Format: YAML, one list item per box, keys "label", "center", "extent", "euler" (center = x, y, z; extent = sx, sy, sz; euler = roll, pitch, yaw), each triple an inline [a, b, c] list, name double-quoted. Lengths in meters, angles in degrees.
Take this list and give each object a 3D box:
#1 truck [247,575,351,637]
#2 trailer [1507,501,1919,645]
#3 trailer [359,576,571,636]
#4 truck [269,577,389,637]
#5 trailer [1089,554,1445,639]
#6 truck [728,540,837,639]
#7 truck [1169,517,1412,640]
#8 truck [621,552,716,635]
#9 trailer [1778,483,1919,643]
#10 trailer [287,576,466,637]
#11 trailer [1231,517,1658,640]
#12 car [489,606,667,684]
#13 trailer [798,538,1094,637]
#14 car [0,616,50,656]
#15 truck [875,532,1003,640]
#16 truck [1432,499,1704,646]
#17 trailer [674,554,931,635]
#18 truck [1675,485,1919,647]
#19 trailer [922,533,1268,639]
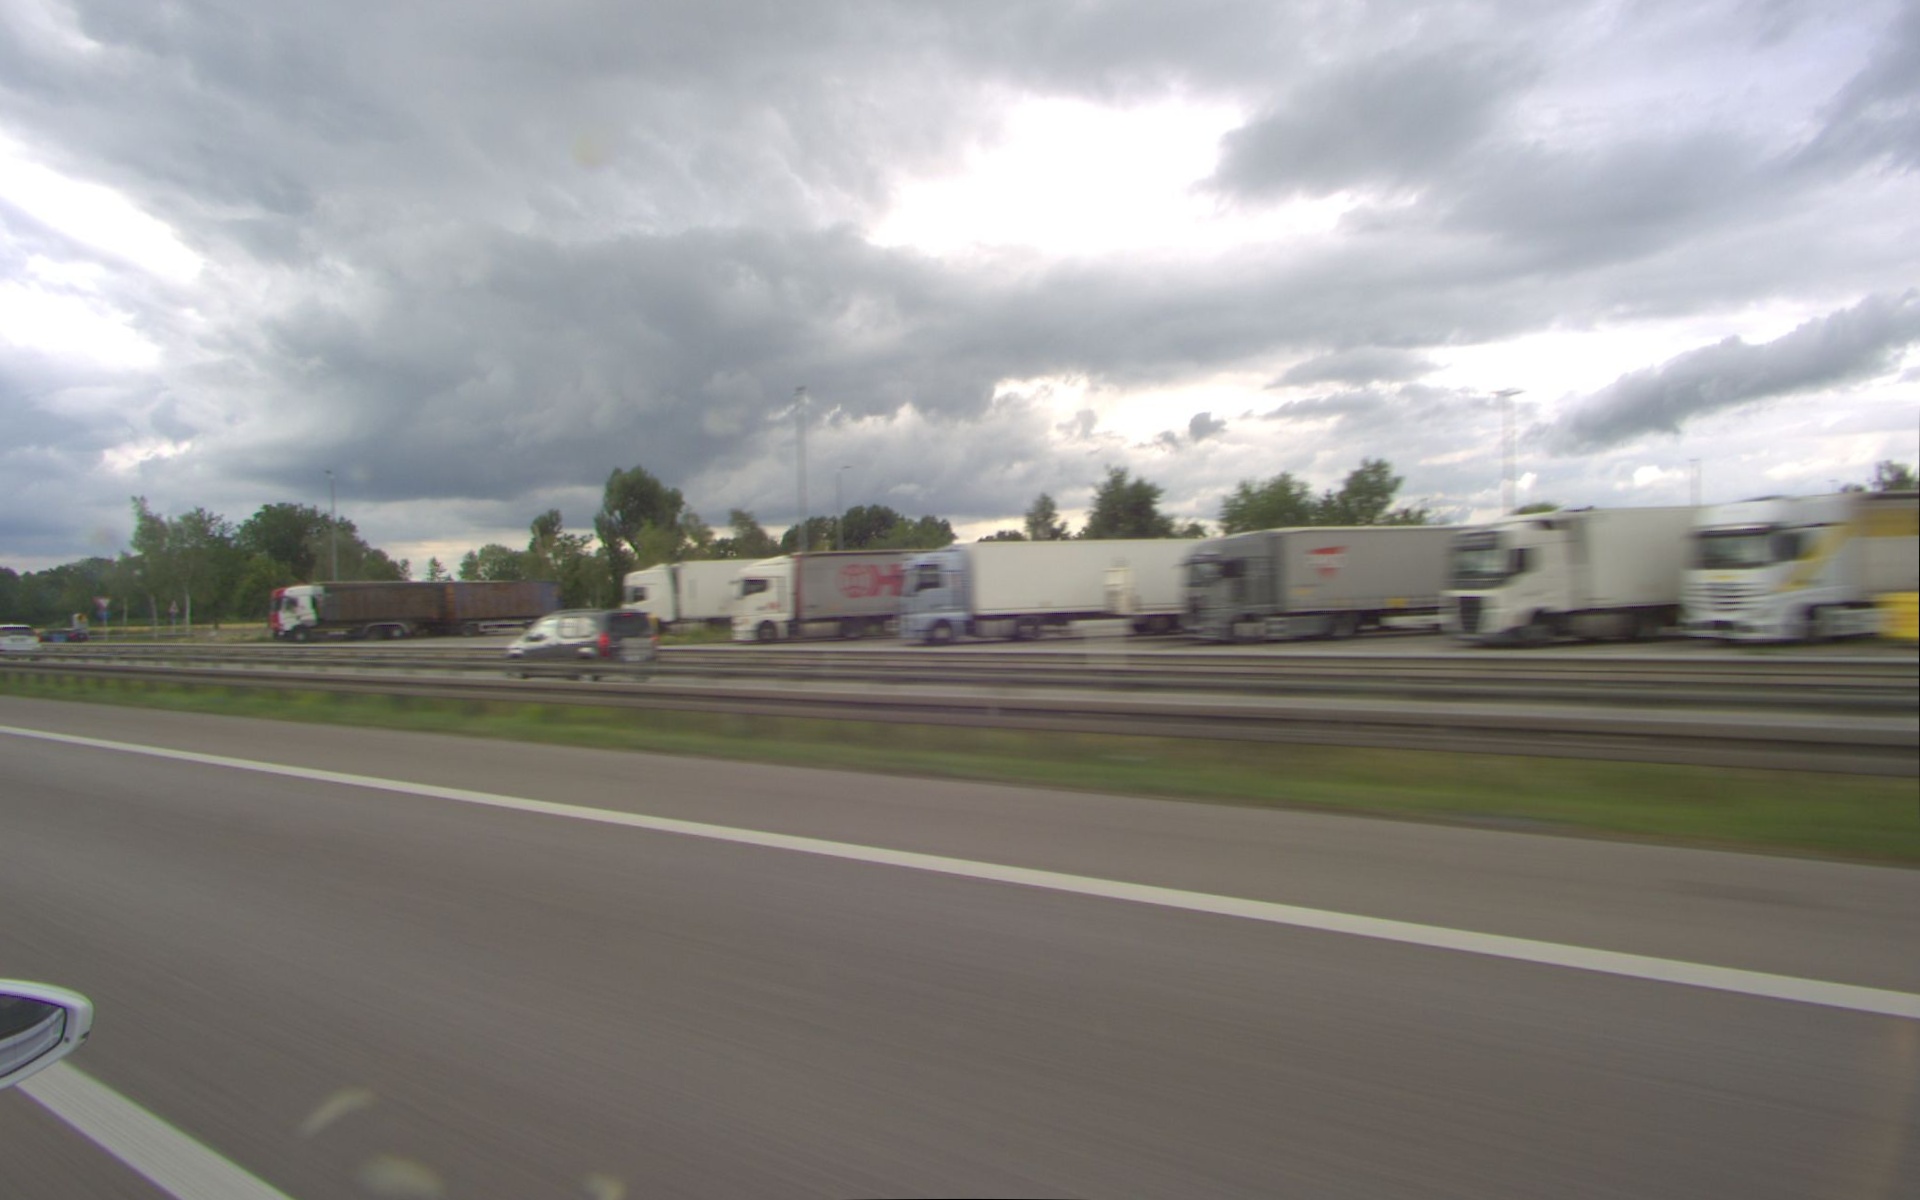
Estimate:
- label: "truck"
  center: [-47.046, 0.472, 71.457]
  extent: [5.588, 4.308, 2.591]
  euler: [0, -1, -12]
- label: "trailer"
  center: [25.233, -0.704, 31.677]
  extent: [15.593, 4.157, 2.854]
  euler: [0, -1, -11]
- label: "trailer"
  center: [-34.456, 0.391, 70.209]
  extent: [12.961, 3.892, 2.745]
  euler: [-1, 0, -11]
- label: "truck"
  center: [-43.074, 0.471, 68.522]
  extent: [6.274, 3.901, 2.754]
  euler: [-1, 0, -12]
- label: "trailer"
  center: [12.141, -0.027, 39.874]
  extent: [13.492, 3.150, 3.594]
  euler: [0, -2, -11]
- label: "truck"
  center: [-8.191, -0.397, 46.044]
  extent: [4.815, 4.383, 2.510]
  euler: [0, -1, -13]
- label: "truck"
  center: [11.763, -0.630, 36.030]
  extent: [7.512, 4.137, 3.547]
  euler: [0, -1, -10]
- label: "truck"
  center: [-15.195, -0.283, 52.476]
  extent: [4.447, 4.187, 2.614]
  euler: [0, -1, -9]
- label: "trailer"
  center: [30.314, -0.887, 28.419]
  extent: [13.540, 4.146, 2.651]
  euler: [0, -1, -9]
- label: "trailer"
  center: [-42.057, 0.463, 72.482]
  extent: [10.902, 4.279, 2.597]
  euler: [0, -1, -11]
- label: "trailer"
  center: [17.992, -0.629, 37.283]
  extent: [15.288, 4.187, 3.528]
  euler: [0, -1, -11]
- label: "car"
  center: [-9.620, 1.086, 25.101]
  extent: [4.529, 1.780, 1.824]
  euler: [-1, 0, 32]
- label: "trailer"
  center: [-0.622, -0.467, 47.679]
  extent: [13.881, 4.452, 2.477]
  euler: [0, -1, -12]
- label: "car"
  center: [-45.692, 1.705, 47.978]
  extent: [4.993, 1.780, 1.824]
  euler: [-1, 0, 32]
- label: "truck"
  center: [-0.895, -0.477, 40.502]
  extent: [4.708, 4.184, 2.638]
  euler: [0, -1, -14]
- label: "truck"
  center: [18.337, -0.712, 30.401]
  extent: [6.841, 4.187, 2.884]
  euler: [0, -1, -10]
- label: "trailer"
  center: [-8.302, -0.227, 53.612]
  extent: [13.288, 4.126, 2.613]
  euler: [0, -1, -10]
- label: "truck"
  center: [22.541, -0.802, 27.038]
  extent: [4.707, 4.107, 2.696]
  euler: [0, -1, -9]
- label: "trailer"
  center: [5.740, -0.439, 42.072]
  extent: [14.428, 4.137, 2.656]
  euler: [0, -1, -13]
